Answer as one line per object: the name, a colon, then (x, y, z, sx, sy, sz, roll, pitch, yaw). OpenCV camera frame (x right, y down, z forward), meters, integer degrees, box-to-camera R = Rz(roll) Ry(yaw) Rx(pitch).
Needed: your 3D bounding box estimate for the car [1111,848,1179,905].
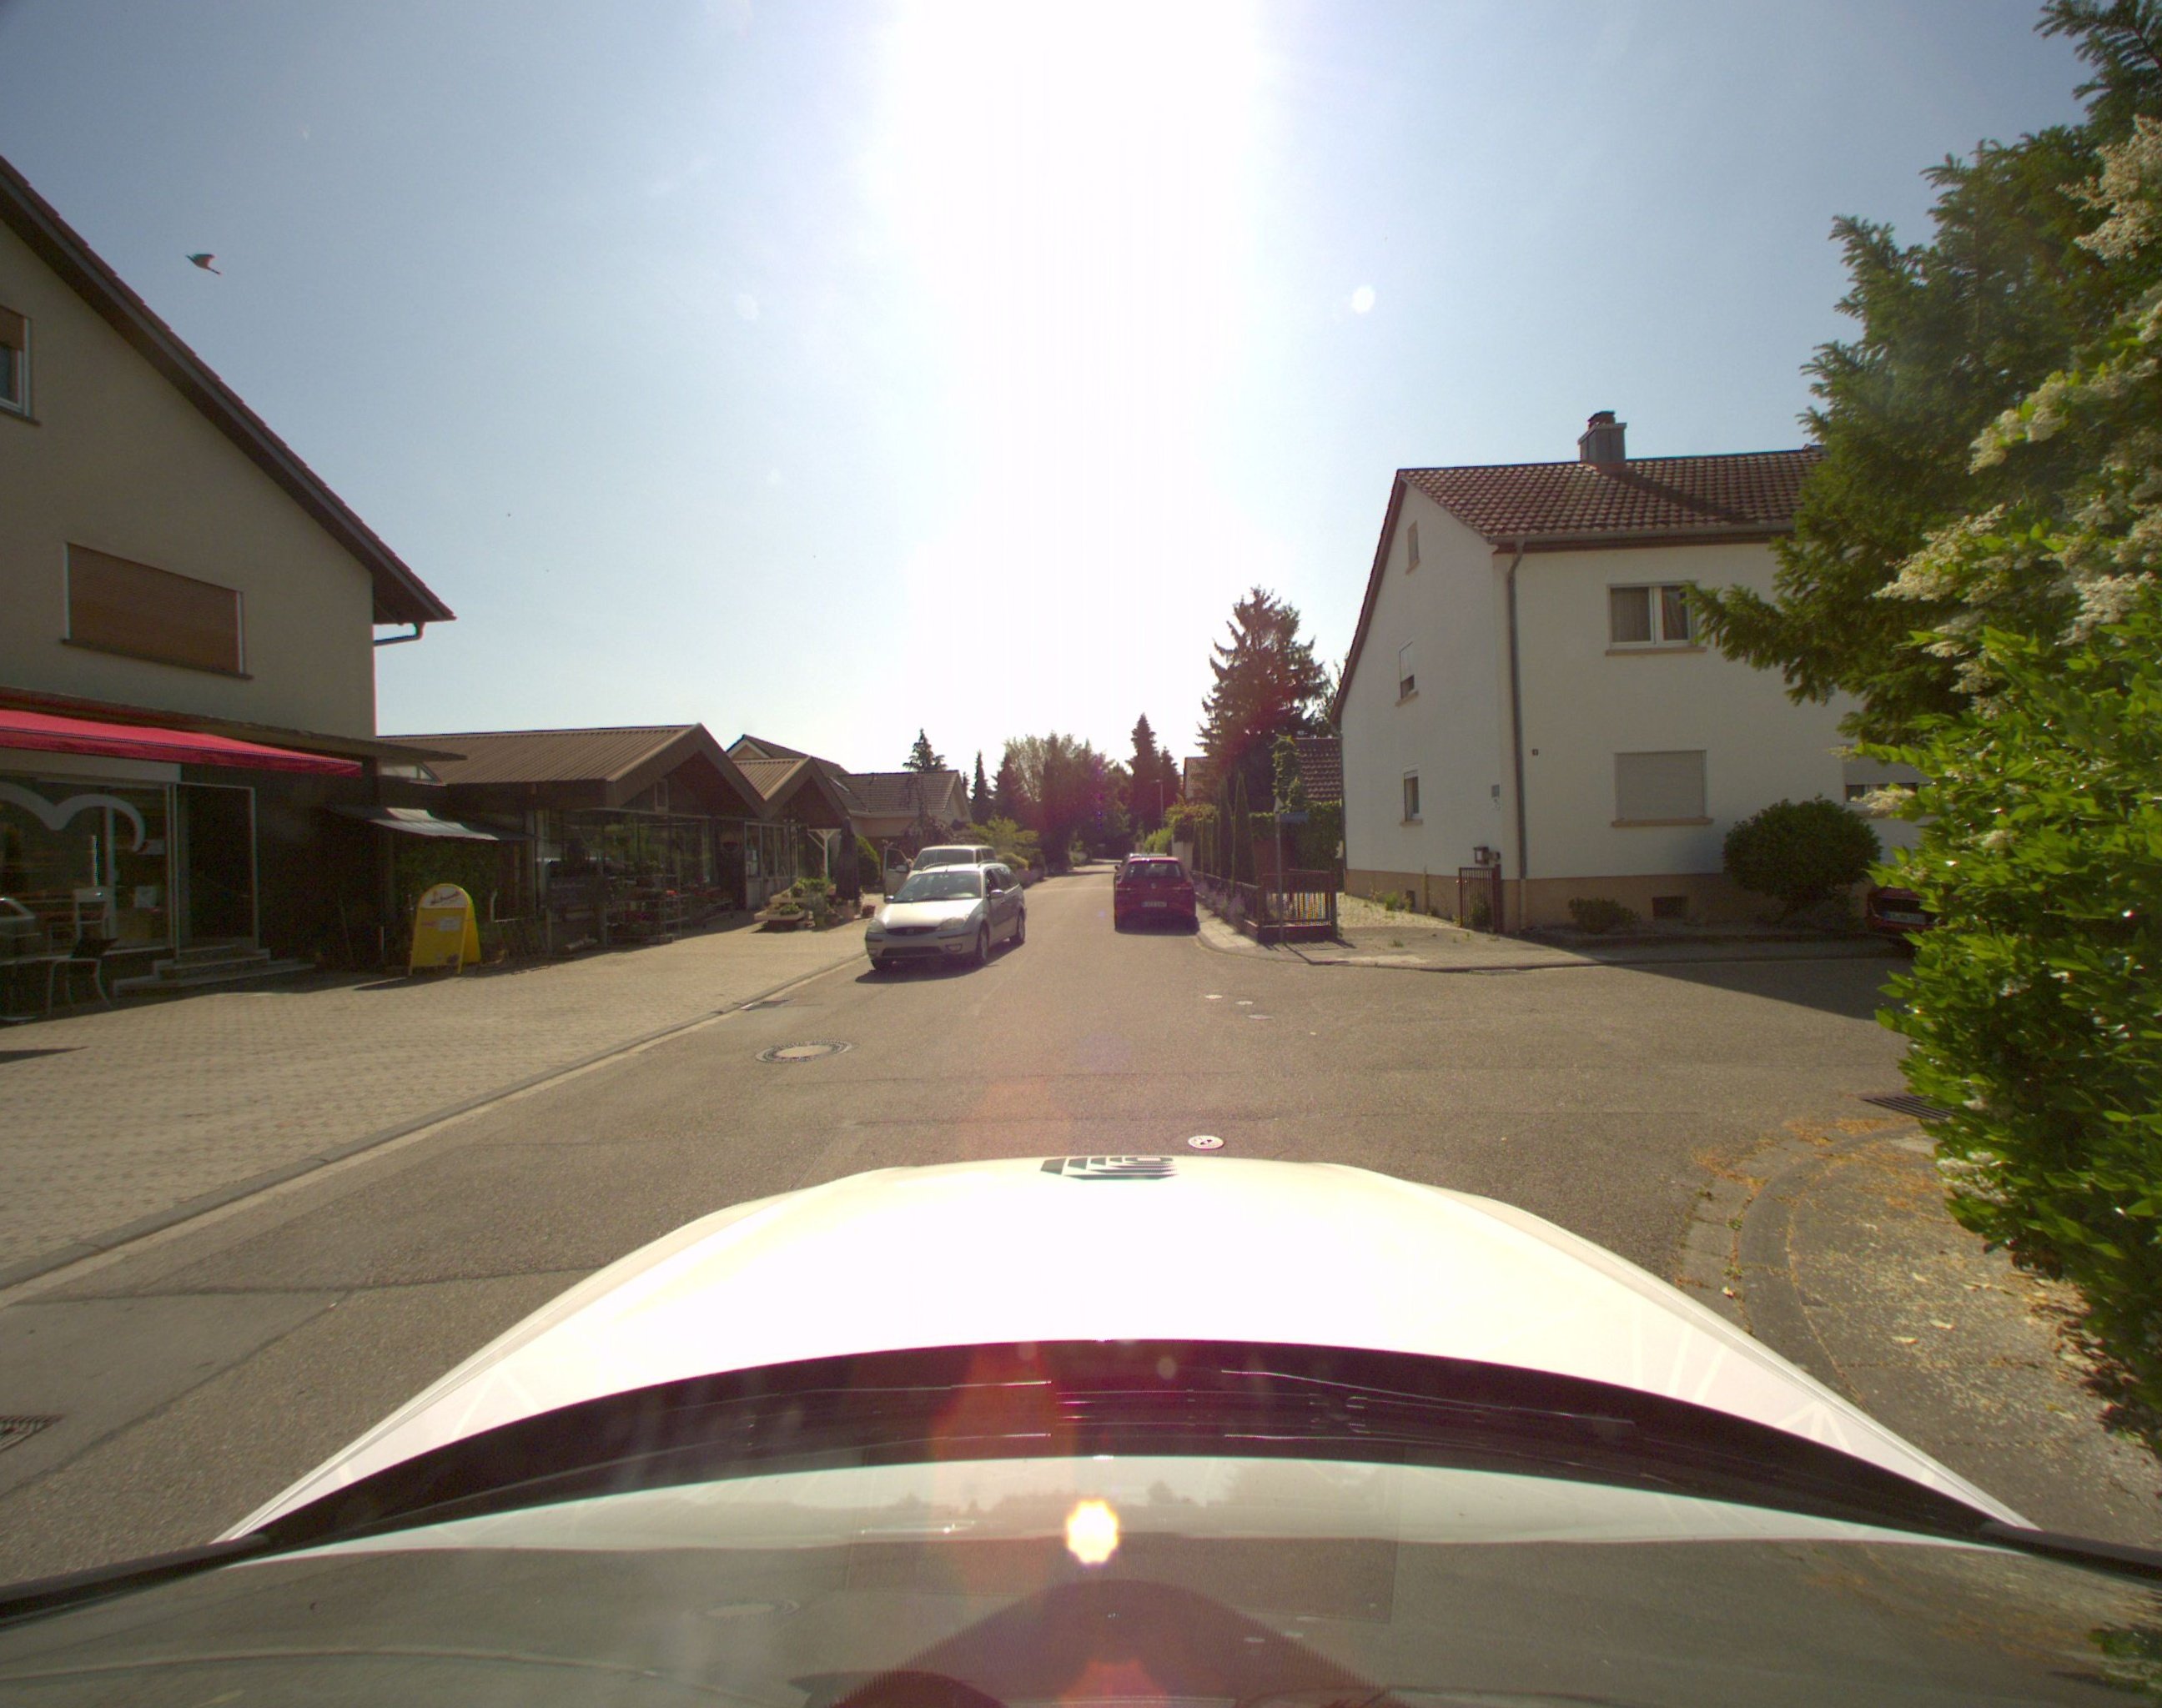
car: (1.907, 0.647, 25.369, 1.816, 1.615, 4.000, -1, 0, 0)

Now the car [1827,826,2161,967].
car: (12.011, 0.451, 10.009, 3.971, 1.530, 1.798, -2, 0, 2)

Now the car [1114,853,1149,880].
car: (2.689, 0.640, 43.966, 1.696, 1.399, 4.001, -1, 0, 2)

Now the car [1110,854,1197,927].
car: (1.694, 0.751, 18.619, 1.766, 1.479, 4.007, 0, 0, 6)

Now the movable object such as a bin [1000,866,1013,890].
movable object such as a bin: (-3.361, 1.086, 36.735, 0.492, 1.024, 0.448, -2, 0, 3)

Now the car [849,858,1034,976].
car: (-2.070, 0.891, 13.426, 1.743, 1.487, 4.384, -4, 0, 7)

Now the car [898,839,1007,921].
car: (-3.484, 0.660, 23.126, 1.920, 2.013, 4.902, -2, 0, 4)

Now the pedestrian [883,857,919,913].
pedestrian: (-5.103, 0.868, 23.051, 0.710, 1.538, 0.646, -1, 0, 36)
